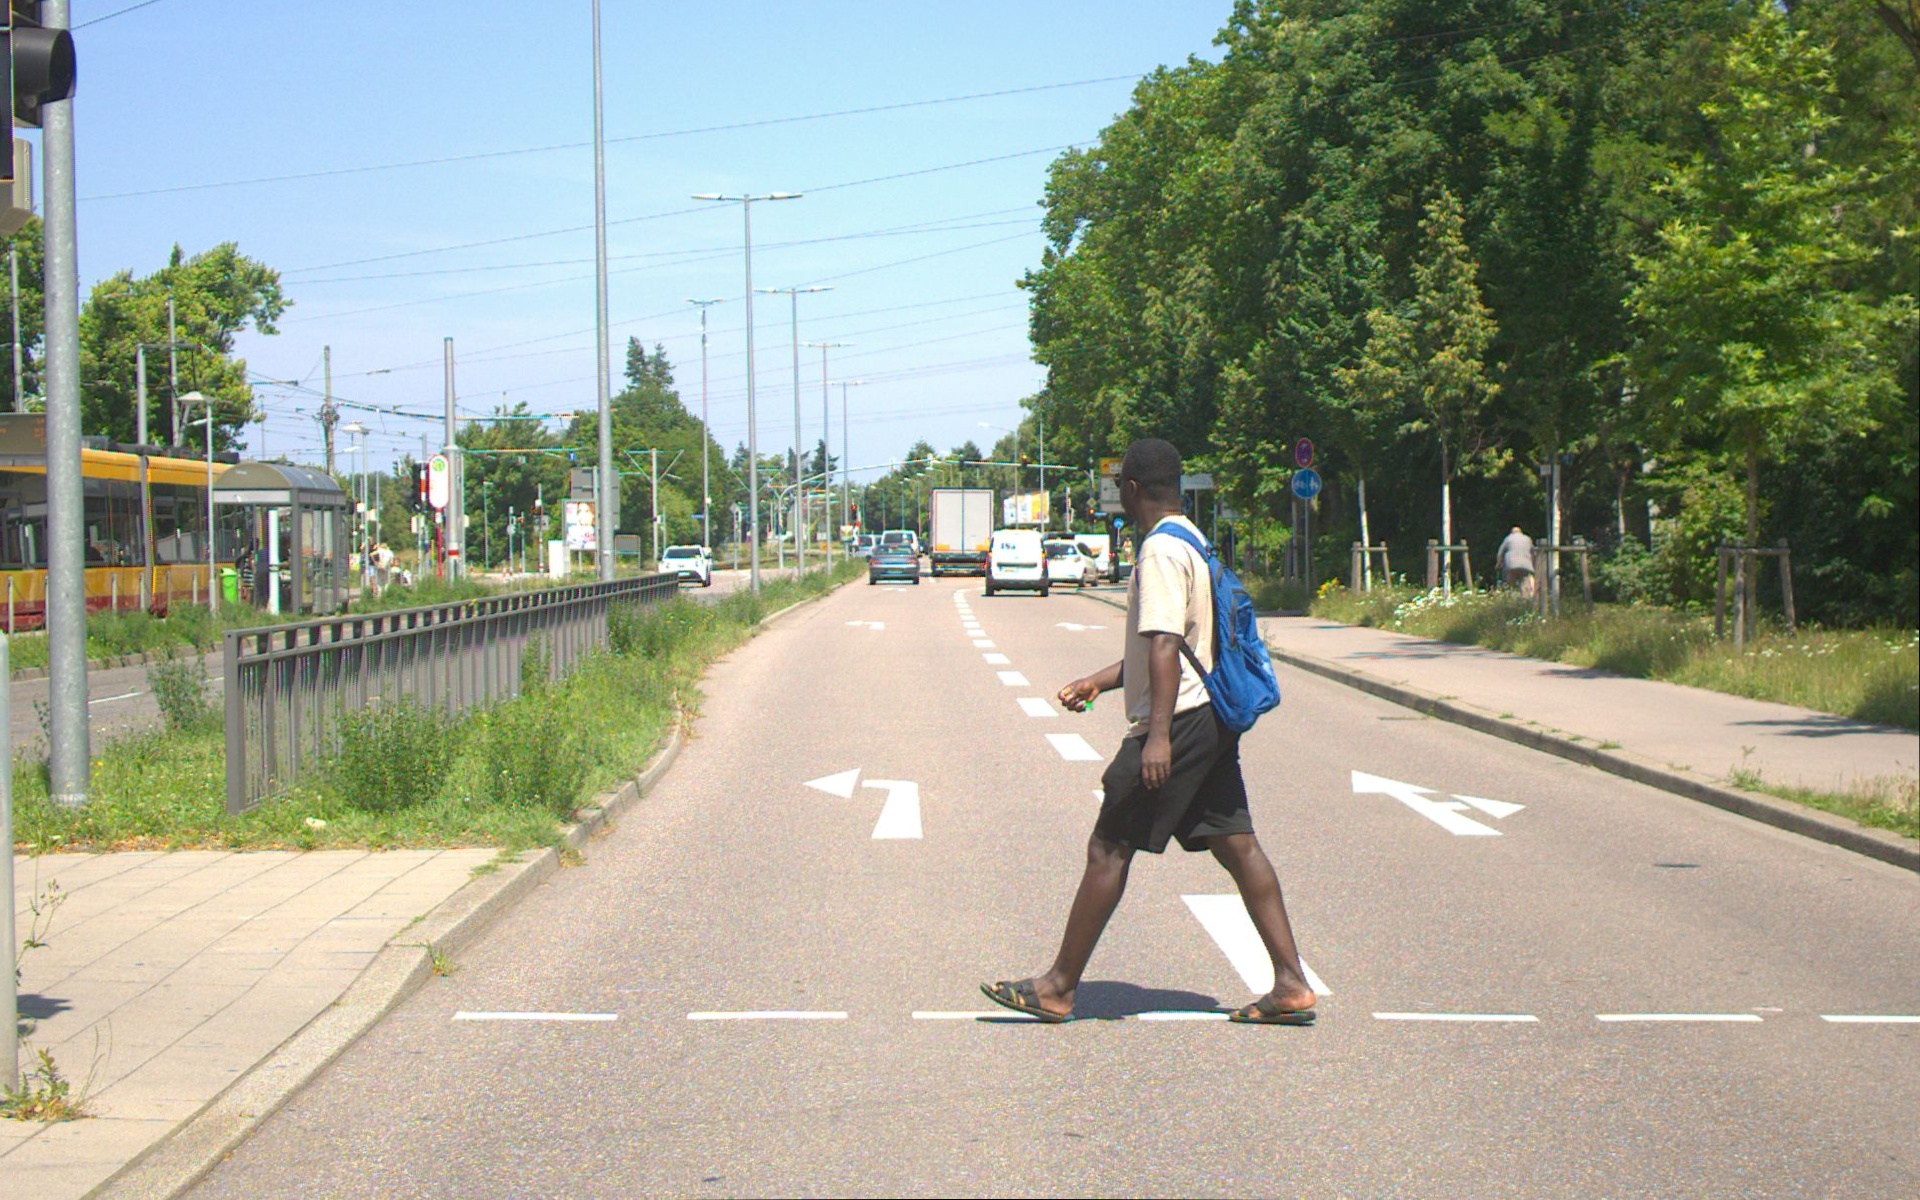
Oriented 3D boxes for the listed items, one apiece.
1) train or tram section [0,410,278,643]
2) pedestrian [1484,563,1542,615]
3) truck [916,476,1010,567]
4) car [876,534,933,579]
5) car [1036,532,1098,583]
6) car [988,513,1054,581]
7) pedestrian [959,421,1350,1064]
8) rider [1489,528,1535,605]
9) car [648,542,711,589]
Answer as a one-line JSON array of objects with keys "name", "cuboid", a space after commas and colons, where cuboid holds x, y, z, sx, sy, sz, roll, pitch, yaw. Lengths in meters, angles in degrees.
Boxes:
[{"name": "train or tram section", "cuboid": [-16.595, -1.341, 64.290, 2.788, 3.655, 26.001, 0, 1, -1]}, {"name": "pedestrian", "cuboid": [9.274, -0.192, 57.716, 0.678, 0.845, 1.774, 0, 1, -1]}, {"name": "truck", "cuboid": [0.053, -3.380, 148.633, 3.899, 3.799, 10.793, 0, 1, -1]}, {"name": "car", "cuboid": [-1.876, -1.490, 117.057, 1.802, 1.481, 4.000, 0, 1, 1]}, {"name": "car", "cuboid": [3.421, -1.385, 110.414, 1.803, 1.534, 4.000, 1, 1, 0]}, {"name": "car", "cuboid": [1.688, -1.458, 93.788, 1.728, 1.807, 4.000, 1, 1, 2]}, {"name": "pedestrian", "cuboid": [0.598, 0.399, 10.332, 1.047, 1.844, 0.757, 0, 1, 13]}, {"name": "rider", "cuboid": [9.265, -0.563, 57.705, 0.678, 1.277, 0.534, 0, 1, -1]}, {"name": "car", "cuboid": [-10.108, -1.270, 124.225, 1.993, 1.644, 4.000, 0, 1, -1]}]
